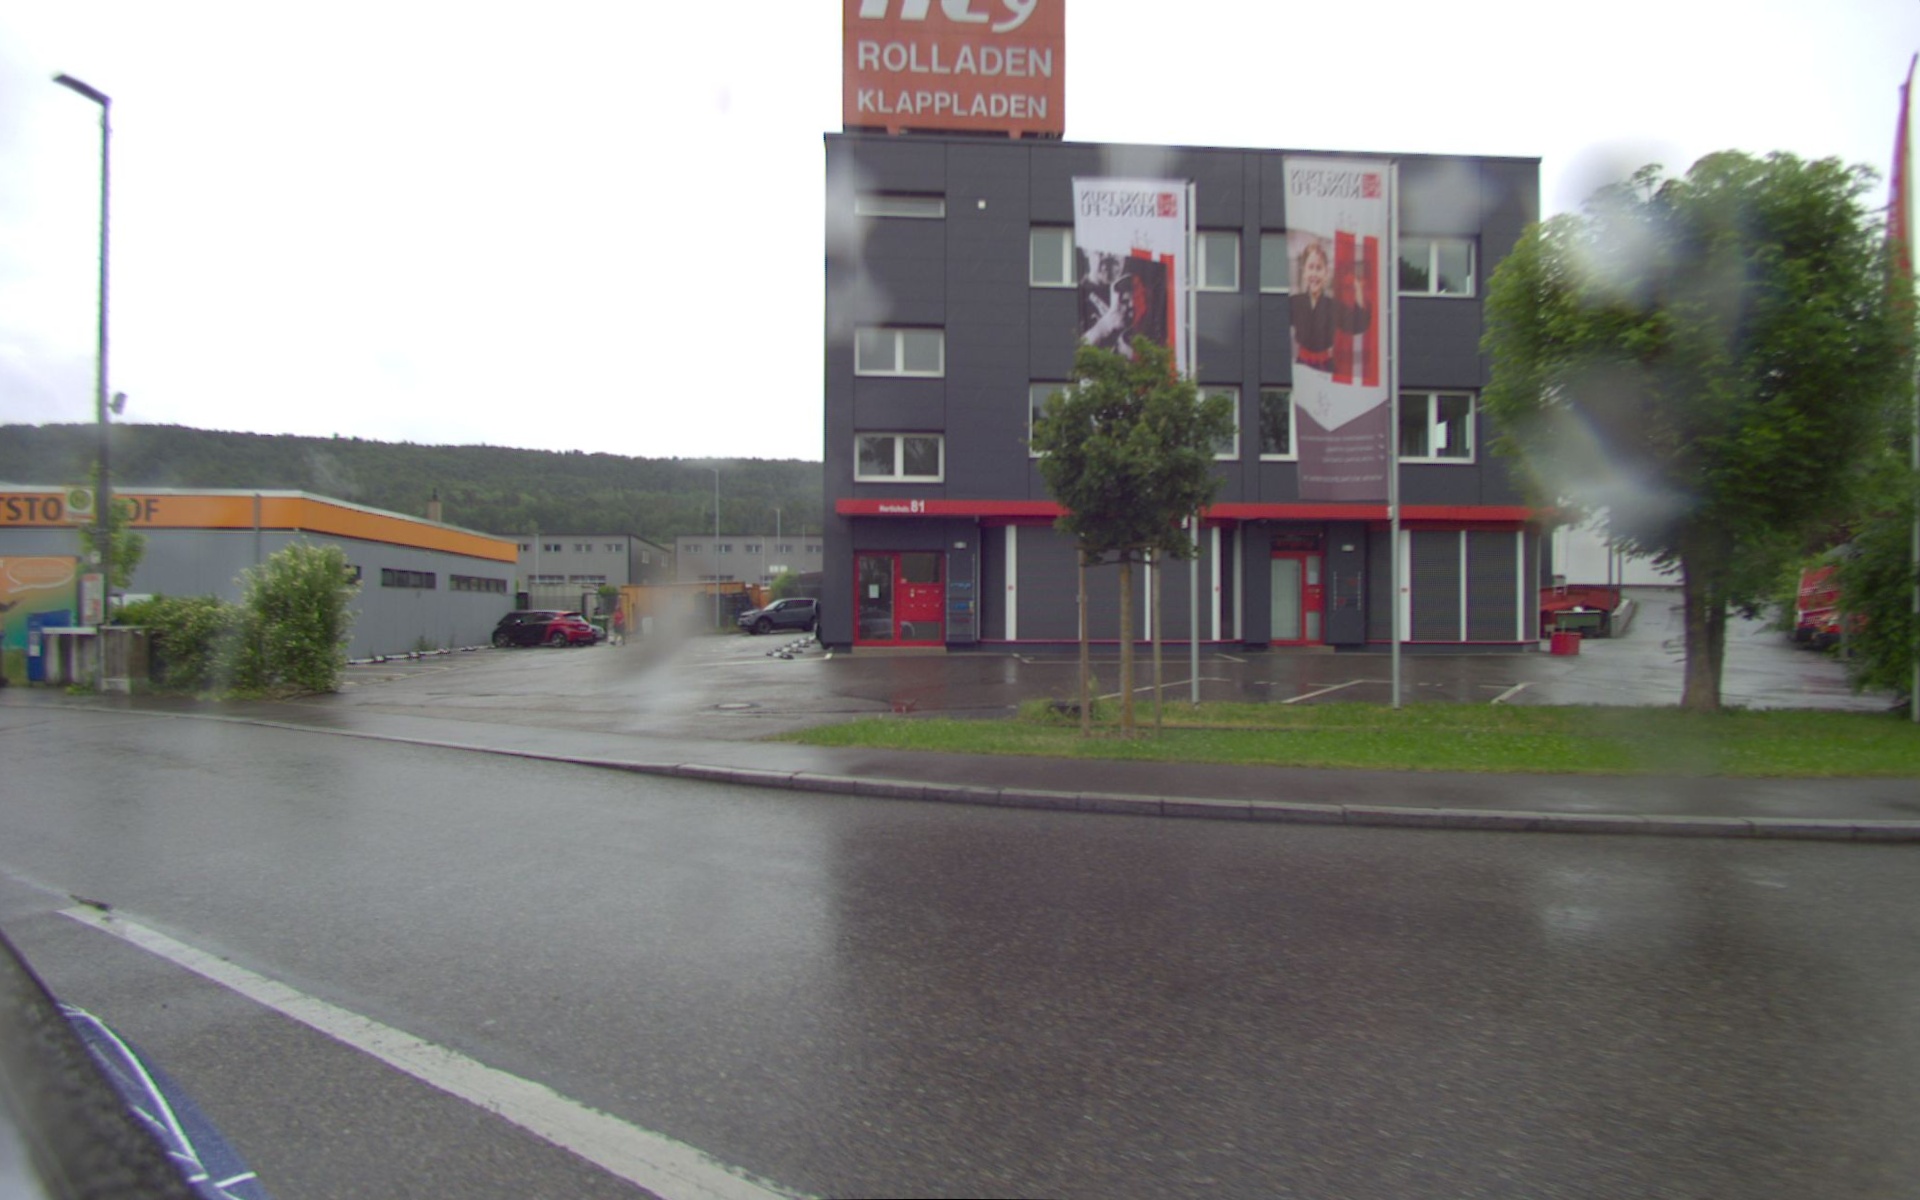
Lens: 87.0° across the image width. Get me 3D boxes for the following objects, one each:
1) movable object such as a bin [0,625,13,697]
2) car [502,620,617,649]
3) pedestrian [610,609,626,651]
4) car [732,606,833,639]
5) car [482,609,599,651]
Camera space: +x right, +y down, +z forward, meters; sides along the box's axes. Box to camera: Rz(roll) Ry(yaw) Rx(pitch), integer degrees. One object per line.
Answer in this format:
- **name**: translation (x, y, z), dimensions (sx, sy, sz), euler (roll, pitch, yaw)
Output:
- **movable object such as a bin**: translation (-18.342, 1.125, 18.652), dimensions (0.996, 1.333, 0.974), euler (-1, -2, 23)
- **car**: translation (-16.964, 1.471, 42.987), dimensions (4.146, 1.169, 1.928), euler (-1, -1, 7)
- **pedestrian**: translation (-14.034, 1.224, 41.524), dimensions (0.425, 1.684, 0.703), euler (0, -1, -2)
- **car**: translation (-8.006, 1.002, 45.628), dimensions (4.124, 1.397, 2.006), euler (0, -1, -25)
- **car**: translation (-16.722, 1.202, 40.386), dimensions (3.961, 1.587, 1.915), euler (-1, -1, 14)
